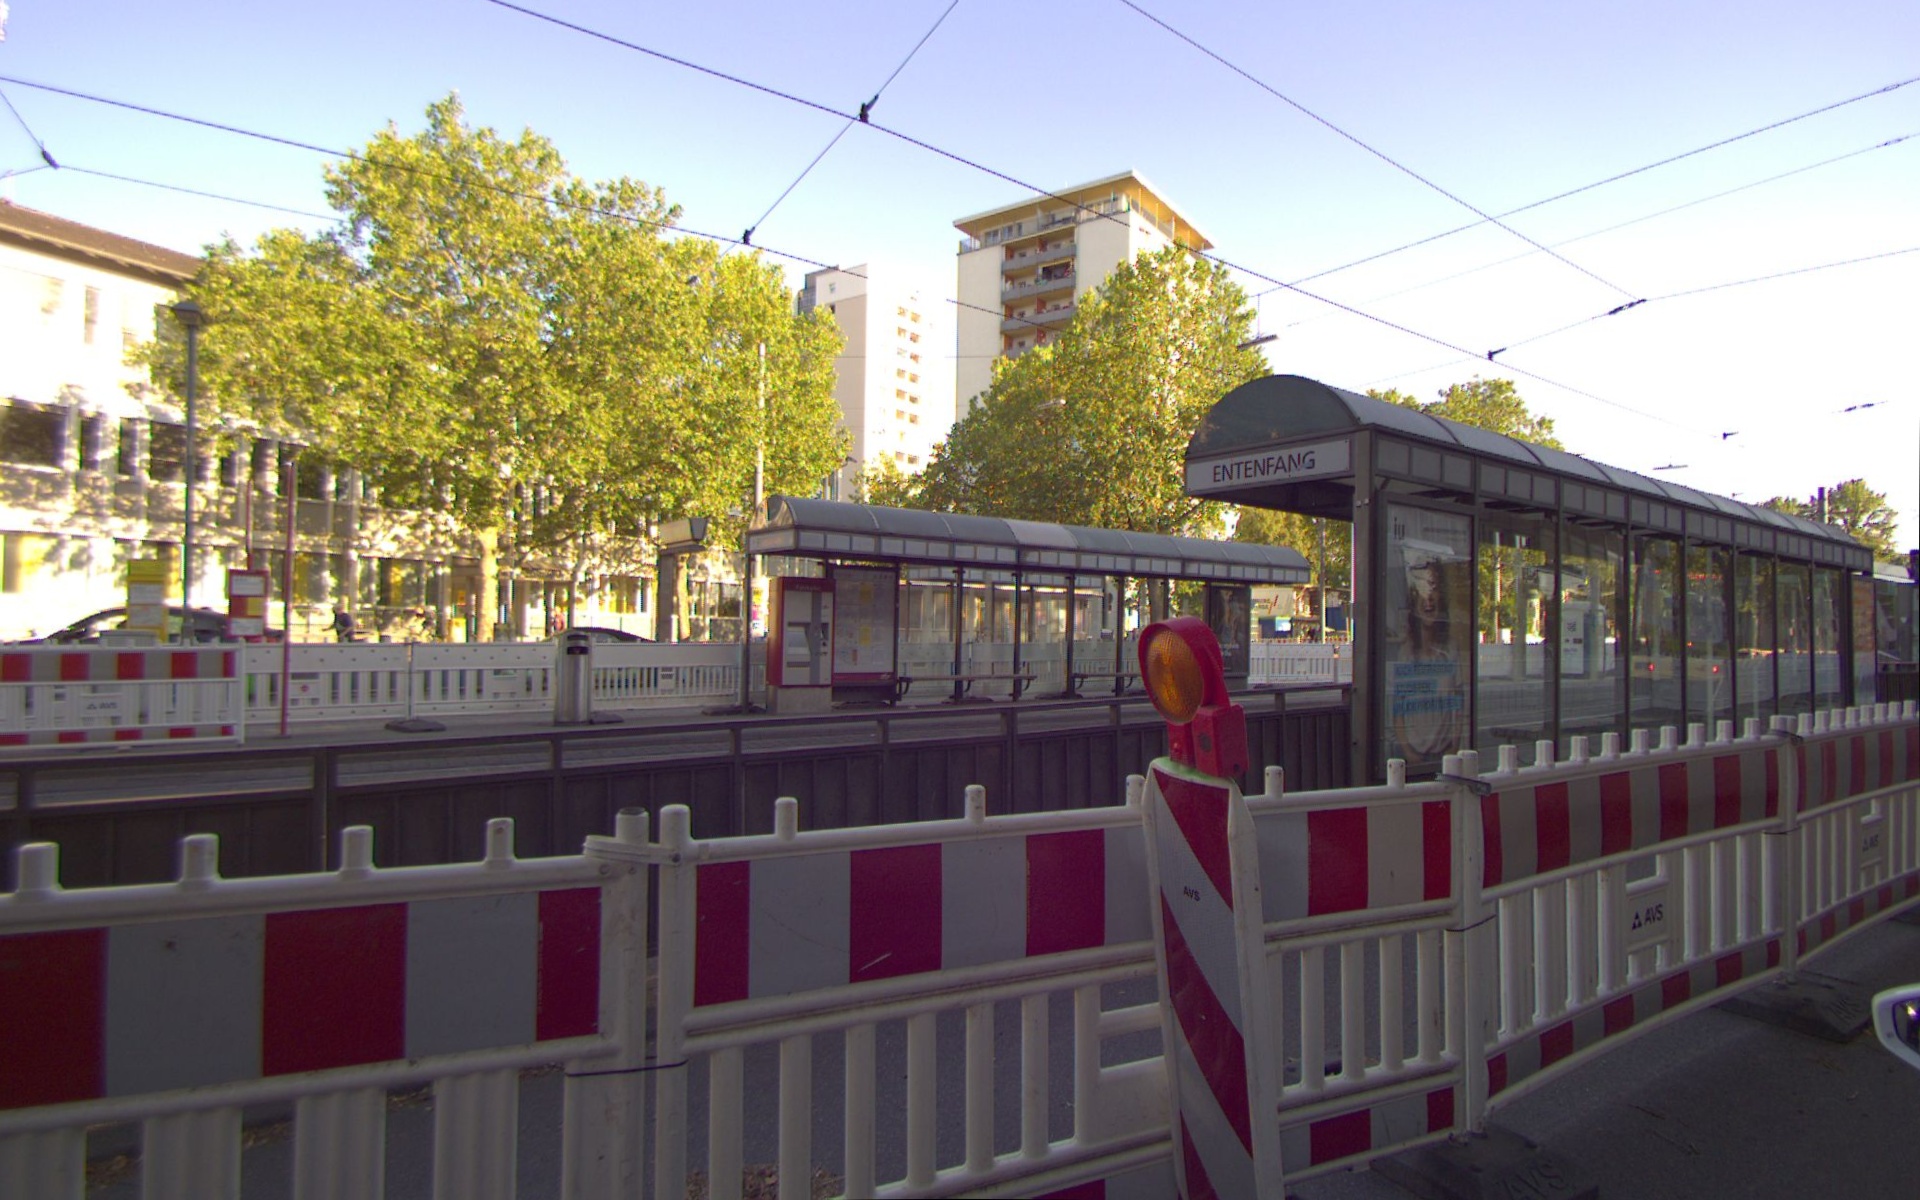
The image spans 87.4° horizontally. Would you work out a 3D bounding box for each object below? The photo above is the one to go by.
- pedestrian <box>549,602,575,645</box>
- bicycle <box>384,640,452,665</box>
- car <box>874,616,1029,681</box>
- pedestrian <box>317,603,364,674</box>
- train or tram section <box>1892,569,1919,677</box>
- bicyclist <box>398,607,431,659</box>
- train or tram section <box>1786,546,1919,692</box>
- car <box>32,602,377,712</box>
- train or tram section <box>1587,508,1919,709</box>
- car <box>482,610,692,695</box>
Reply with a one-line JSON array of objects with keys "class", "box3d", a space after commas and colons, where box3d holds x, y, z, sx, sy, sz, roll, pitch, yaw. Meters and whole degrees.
[{"class": "pedestrian", "box3d": [-13.621, 0.808, 34.410, 0.577, 1.474, 0.583, 0, -2, 36]}, {"class": "bicycle", "box3d": [-18.609, 1.791, 34.505, 0.669, 0.792, 1.986, 0, -2, 32]}, {"class": "car", "box3d": [-0.204, 1.326, 28.019, 3.959, 1.683, 1.901, 2, -2, -35]}, {"class": "pedestrian", "box3d": [-16.556, 1.032, 26.832, 0.921, 1.858, 0.691, 2, -2, -43]}, {"class": "train or tram section", "box3d": [36.613, 0.917, 36.167, 11.479, 3.580, 2.666, 2, 0, -38]}, {"class": "bicyclist", "box3d": [-18.673, 1.117, 34.392, 0.662, 1.750, 0.763, 0, -1, 32]}, {"class": "train or tram section", "box3d": [27.419, 0.603, 29.268, 11.477, 3.606, 2.666, 2, 0, -38]}, {"class": "car", "box3d": [-12.779, 0.950, 17.404, 4.511, 1.683, 1.982, 2, -2, -34]}, {"class": "train or tram section", "box3d": [18.069, 0.298, 22.404, 11.657, 3.581, 2.668, 2, 0, -36]}, {"class": "car", "box3d": [-8.112, 1.119, 21.930, 3.958, 1.683, 1.982, 2, -2, -34]}]
